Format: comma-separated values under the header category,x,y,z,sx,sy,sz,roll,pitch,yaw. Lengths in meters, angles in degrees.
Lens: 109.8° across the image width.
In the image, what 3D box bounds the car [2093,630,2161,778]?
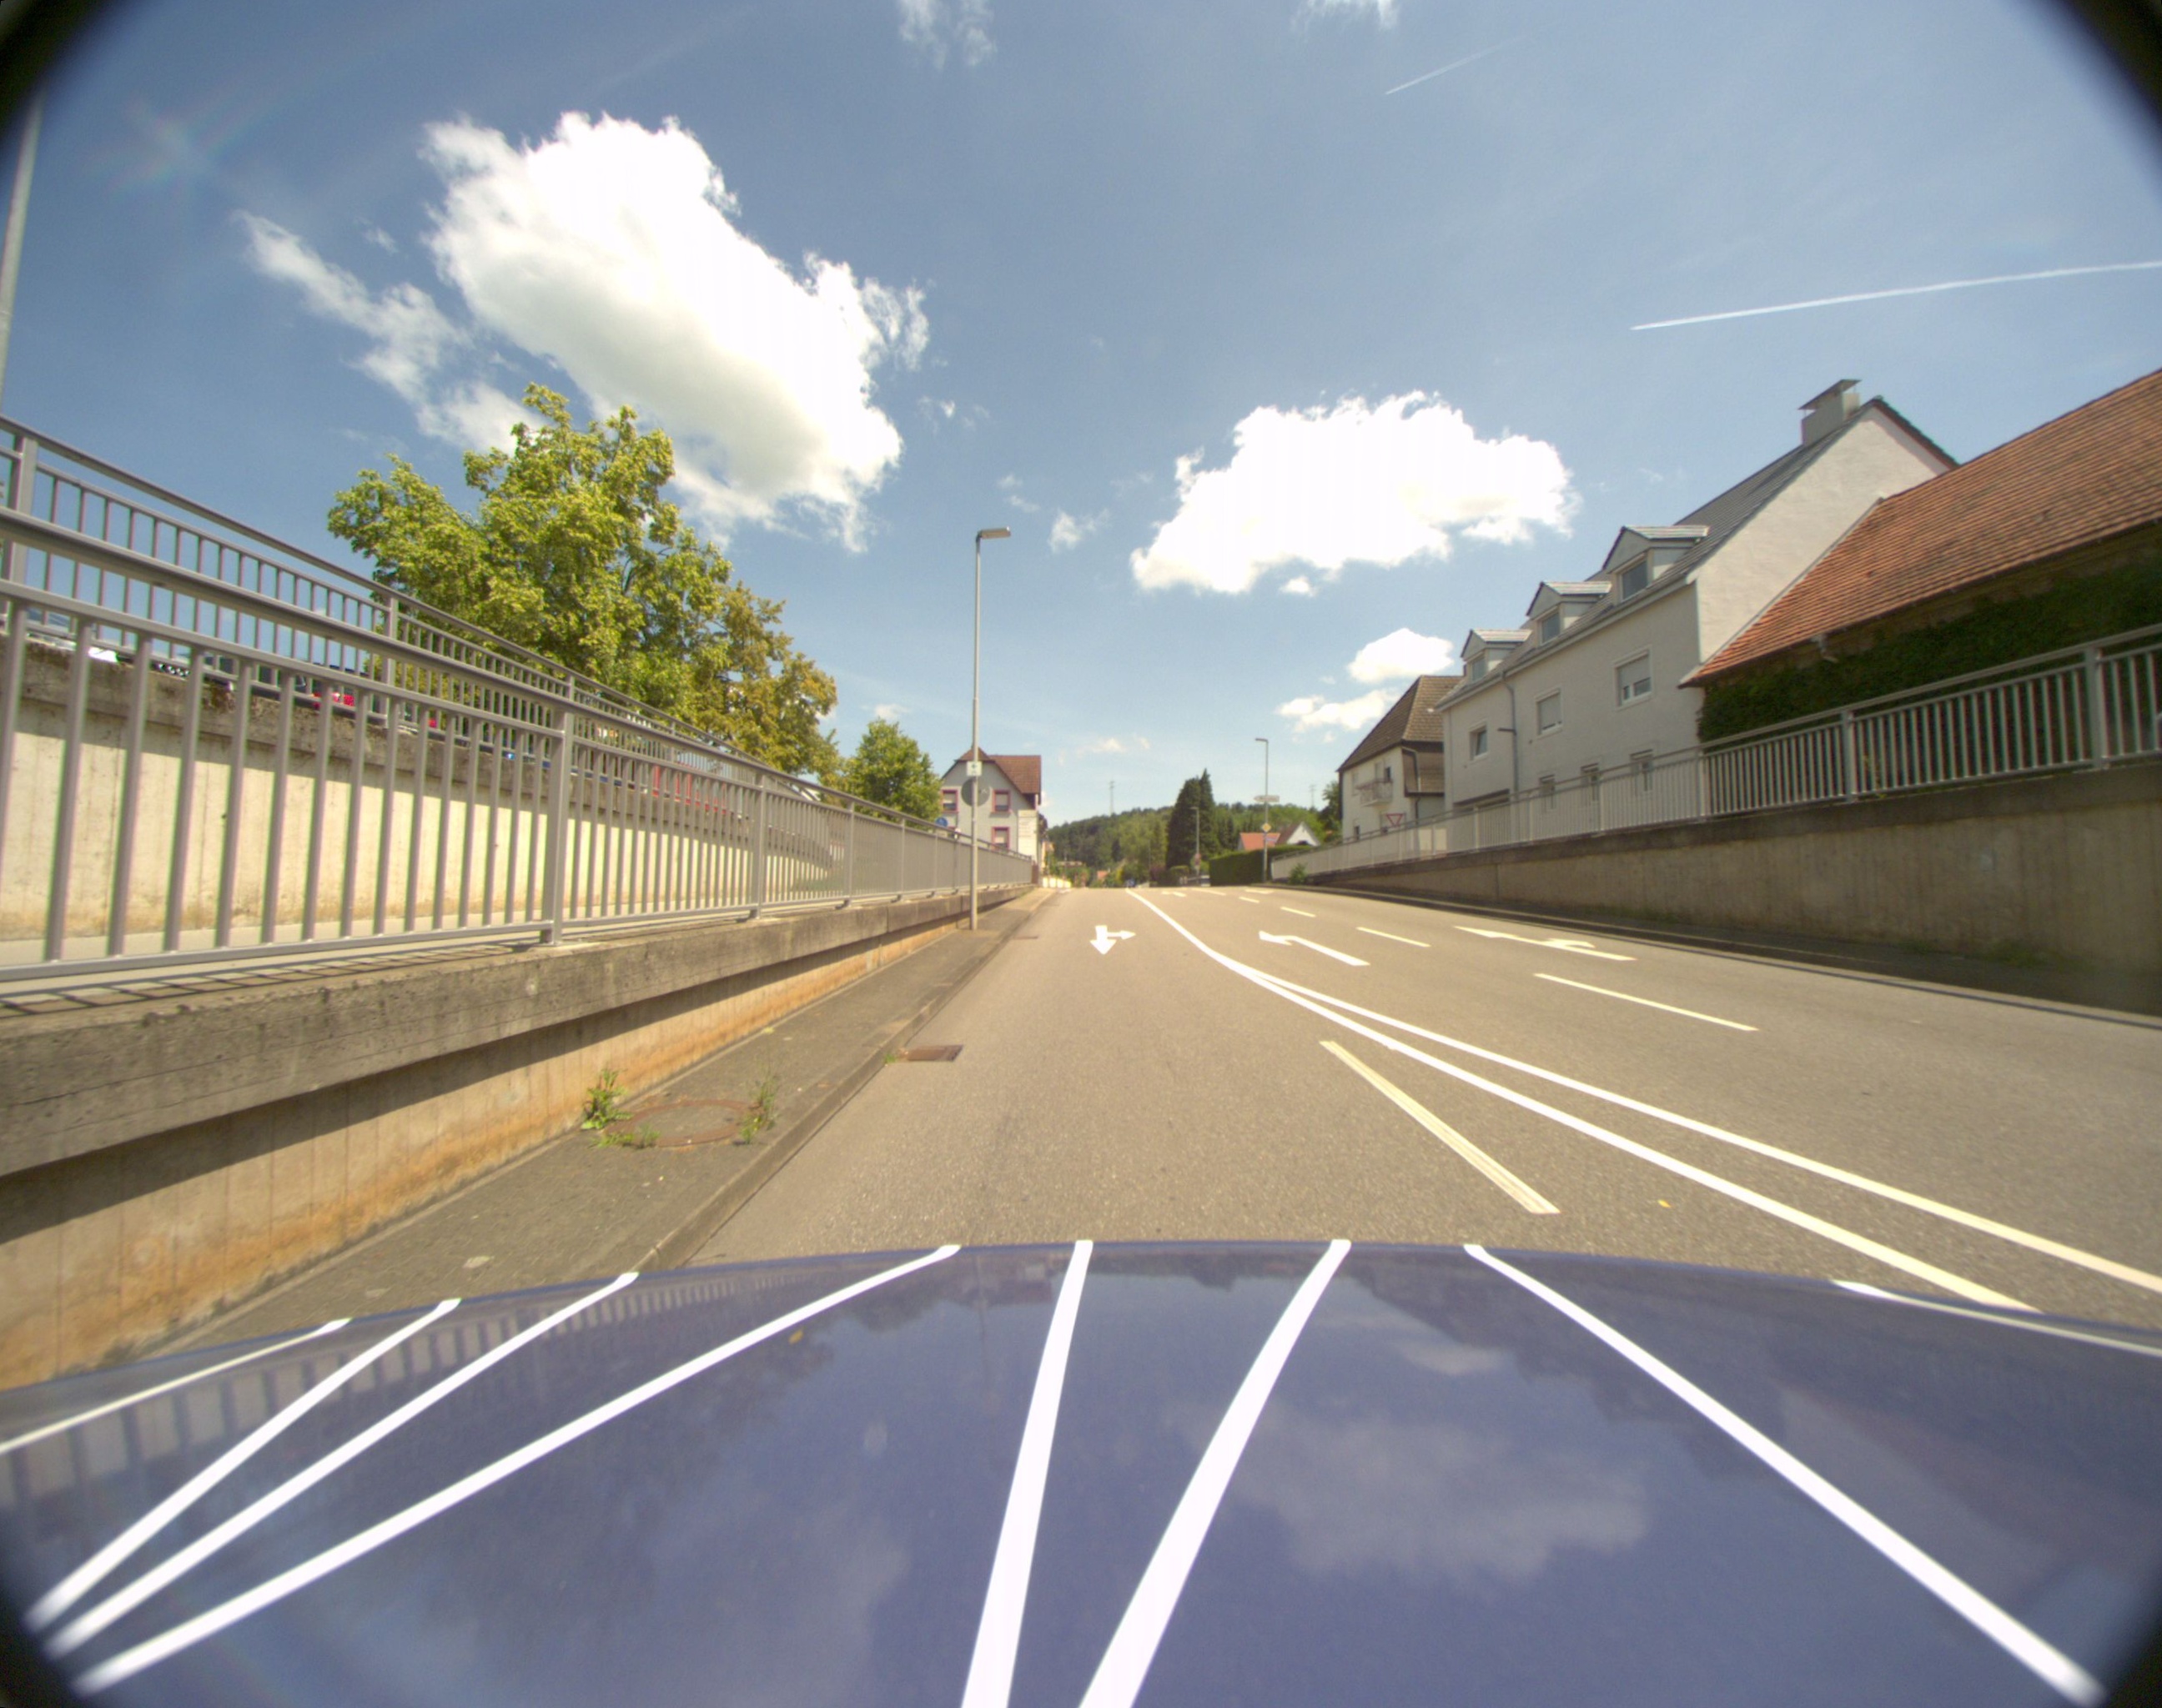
category,x,y,z,sx,sy,sz,roll,pitch,yaw
car,11.624,-1.601,5.828,1.790,1.396,4.394,-1,-2,-1

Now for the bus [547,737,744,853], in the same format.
category,x,y,z,sx,sy,sz,roll,pitch,yaw
bus,-11.519,-1.413,20.713,2.194,2.351,5.367,1,-4,0

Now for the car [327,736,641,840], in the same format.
category,x,y,z,sx,sy,sz,roll,pitch,yaw
car,-10.503,-1.150,13.687,4.000,1.620,1.862,-2,0,-8

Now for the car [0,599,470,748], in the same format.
category,x,y,z,sx,sy,sz,roll,pitch,yaw
car,-10.038,-2.084,9.112,3.996,1.299,1.773,1,-1,1

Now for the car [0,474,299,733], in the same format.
category,x,y,z,sx,sy,sz,roll,pitch,yaw
car,-9.417,-1.936,6.407,3.996,1.419,1.726,-1,-2,4
